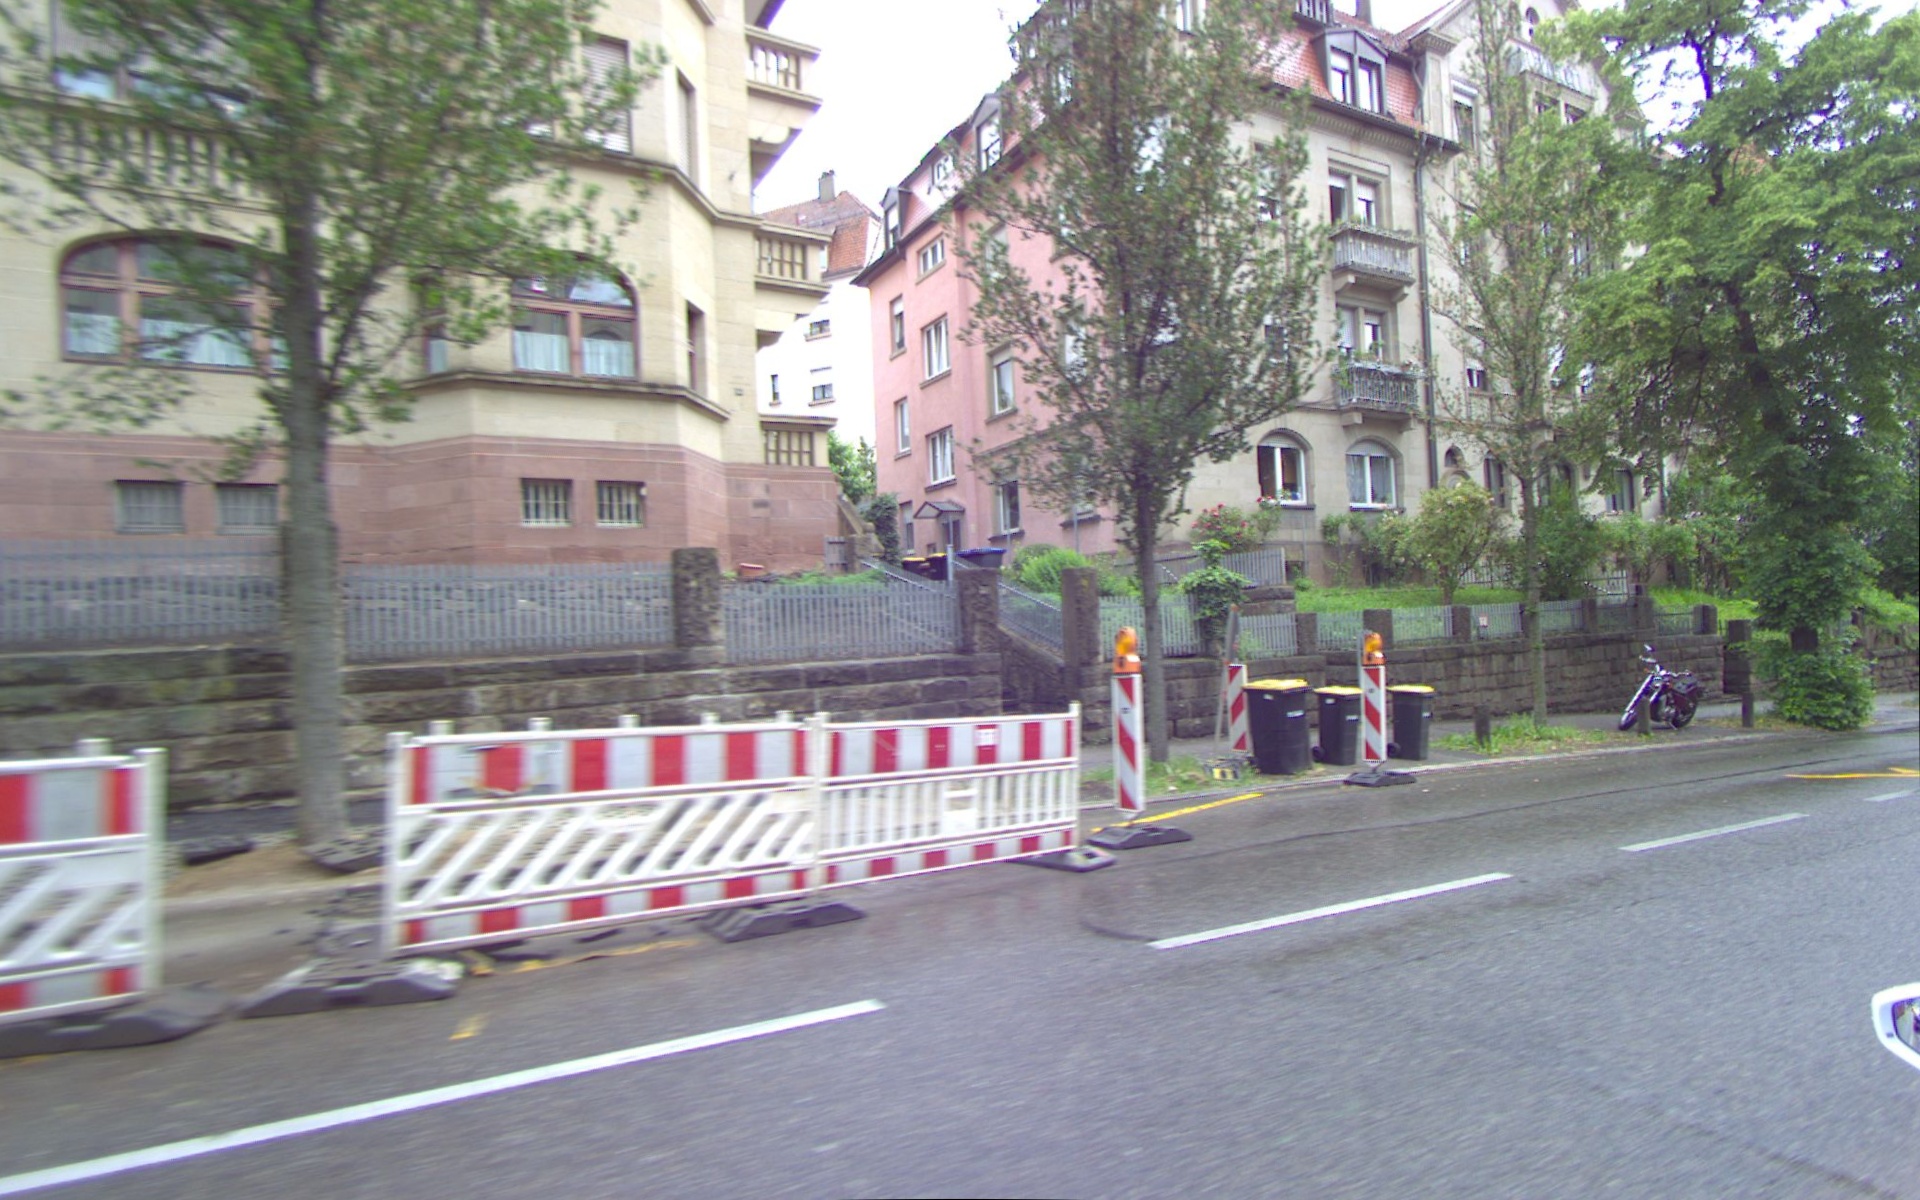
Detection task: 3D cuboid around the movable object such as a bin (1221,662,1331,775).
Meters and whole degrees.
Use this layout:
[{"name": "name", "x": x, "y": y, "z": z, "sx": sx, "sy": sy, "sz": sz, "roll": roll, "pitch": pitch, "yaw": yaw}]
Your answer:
[{"name": "movable object such as a bin", "x": 3.791, "y": 1.391, "z": 12.090, "sx": 0.845, "sy": 1.230, "sz": 0.941, "roll": 1, "pitch": 0, "yaw": -29}]

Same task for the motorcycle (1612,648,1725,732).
[{"name": "motorcycle", "x": 12.335, "y": 1.540, "z": 17.464, "sx": 2.177, "sy": 1.363, "sz": 0.762, "roll": 2, "pitch": -1, "yaw": -31}]

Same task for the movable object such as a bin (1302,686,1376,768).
[{"name": "movable object such as a bin", "x": 4.679, "y": 1.559, "z": 12.422, "sx": 0.616, "sy": 0.920, "sz": 0.601, "roll": 1, "pitch": 0, "yaw": -29}]

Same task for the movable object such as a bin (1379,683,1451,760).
[{"name": "movable object such as a bin", "x": 5.925, "y": 1.567, "z": 13.078, "sx": 0.616, "sy": 0.920, "sz": 0.601, "roll": 1, "pitch": 0, "yaw": -29}]
